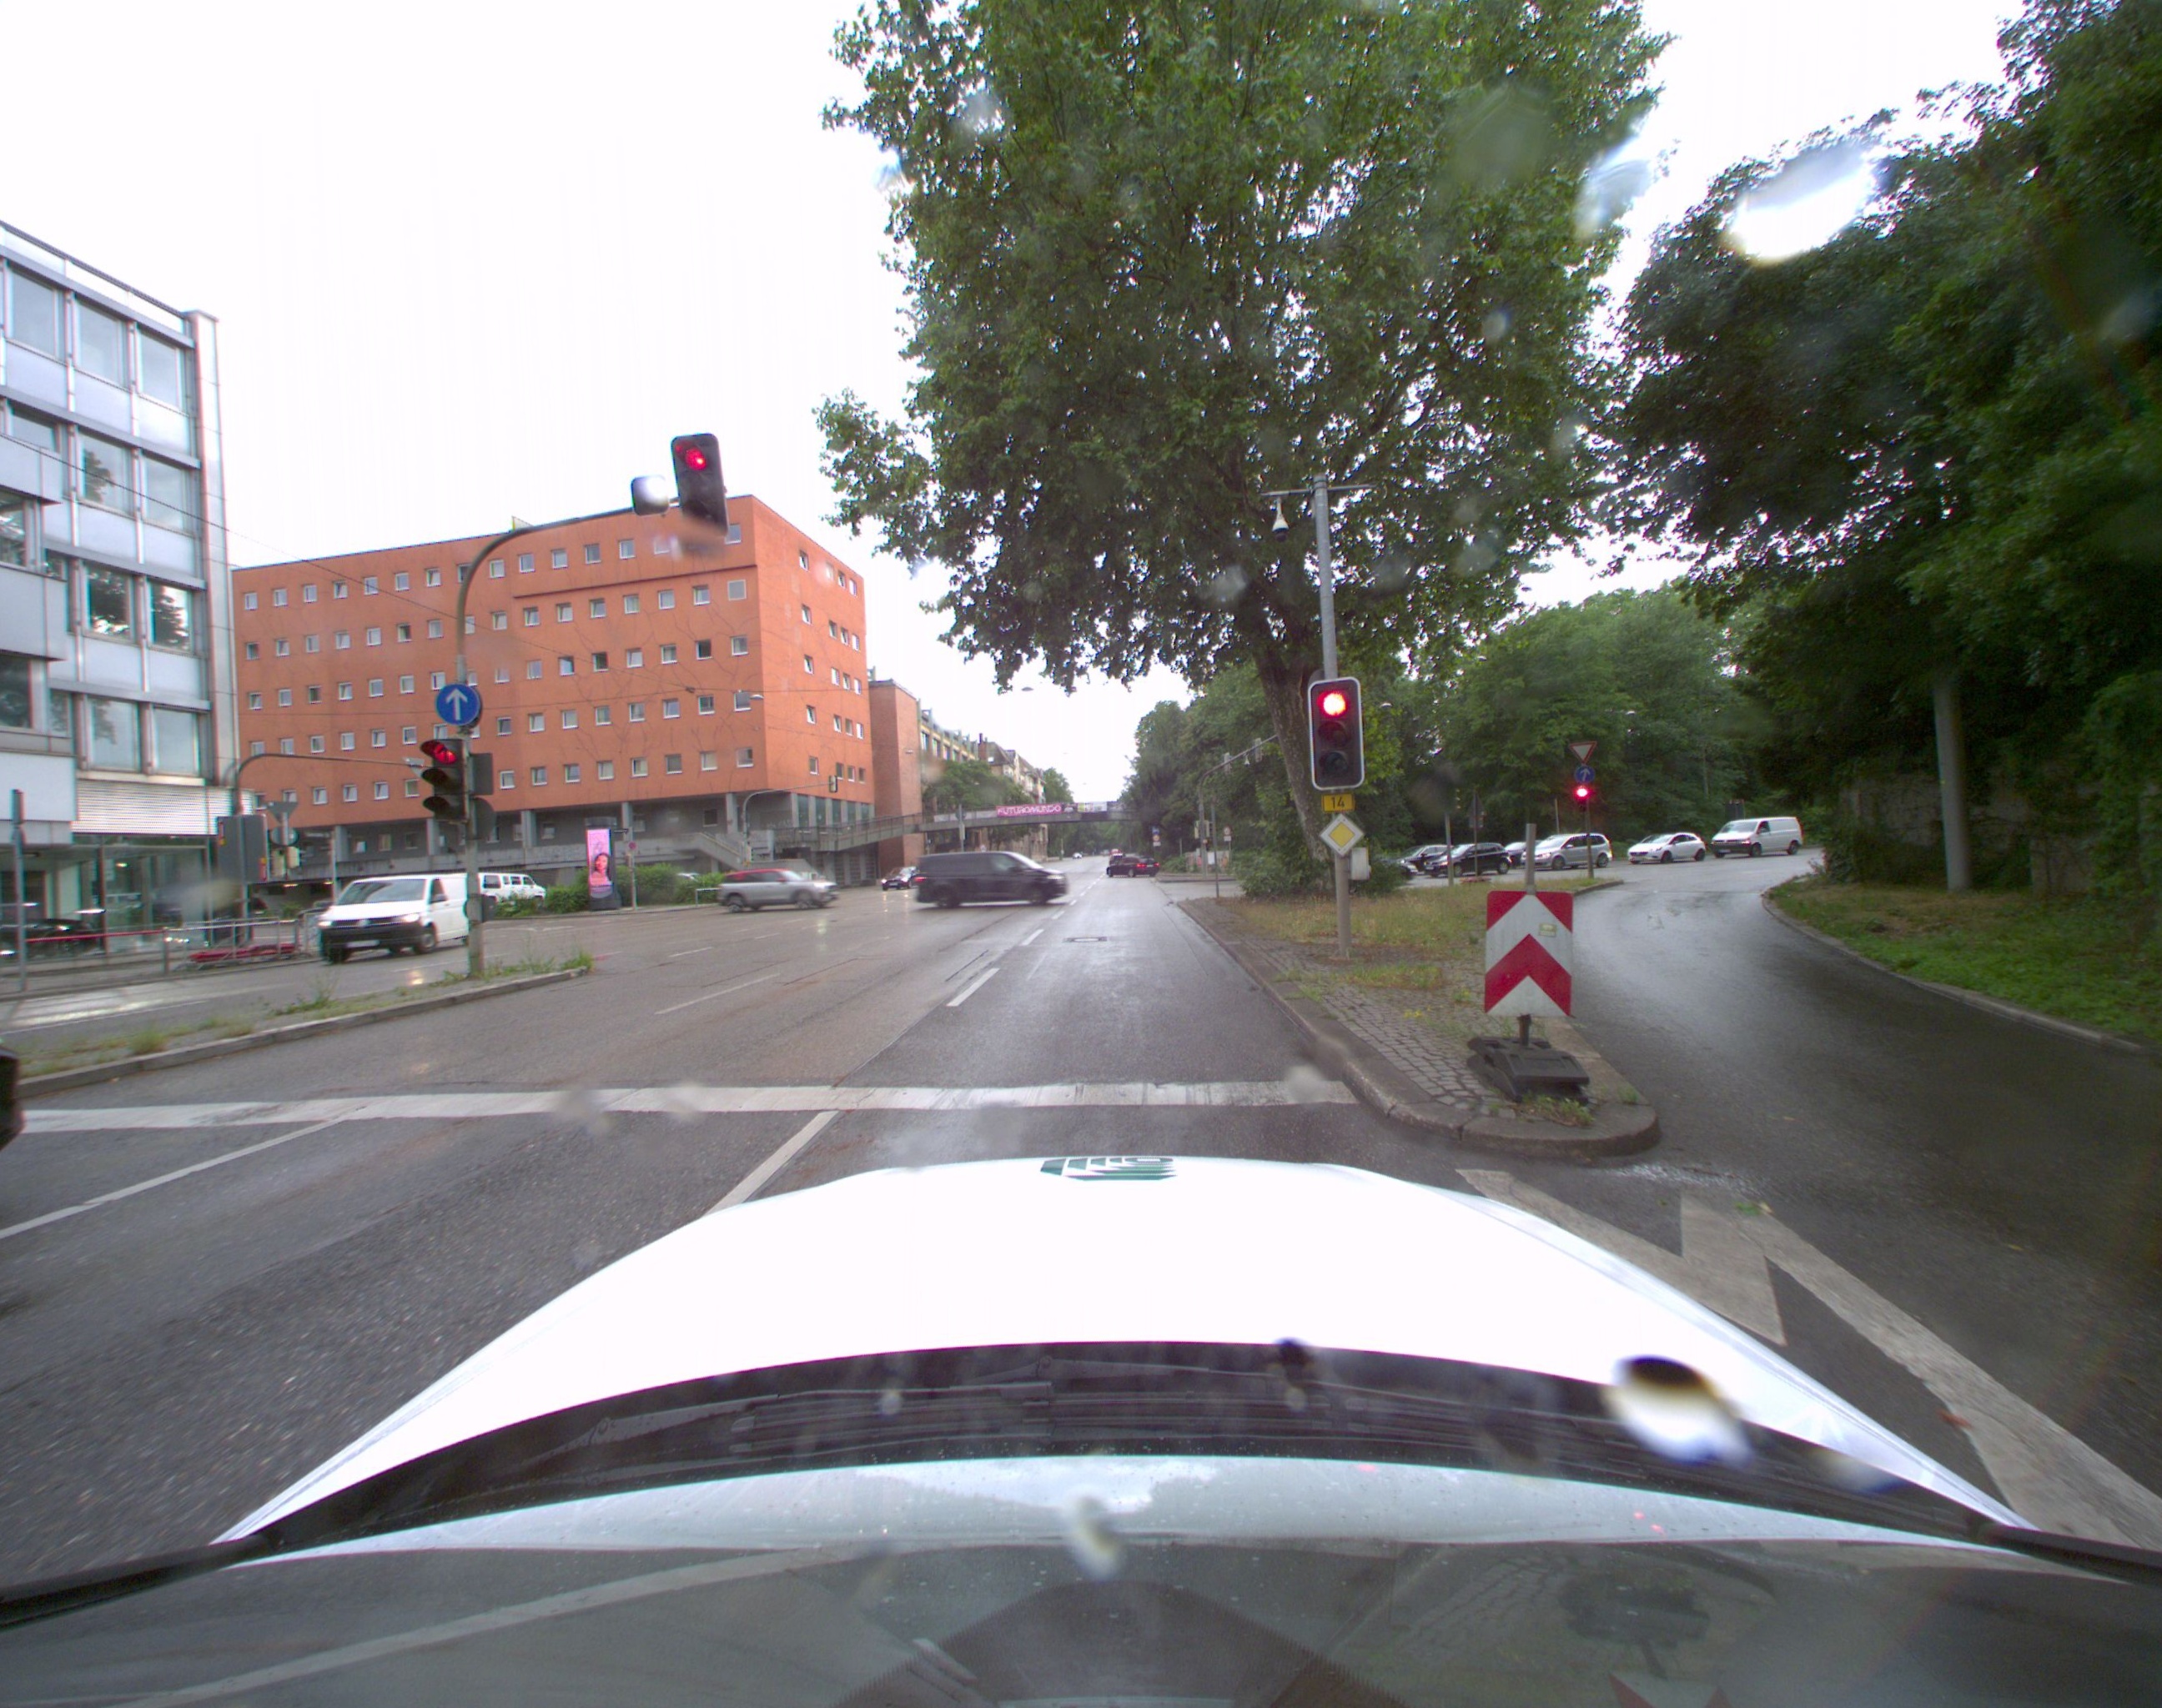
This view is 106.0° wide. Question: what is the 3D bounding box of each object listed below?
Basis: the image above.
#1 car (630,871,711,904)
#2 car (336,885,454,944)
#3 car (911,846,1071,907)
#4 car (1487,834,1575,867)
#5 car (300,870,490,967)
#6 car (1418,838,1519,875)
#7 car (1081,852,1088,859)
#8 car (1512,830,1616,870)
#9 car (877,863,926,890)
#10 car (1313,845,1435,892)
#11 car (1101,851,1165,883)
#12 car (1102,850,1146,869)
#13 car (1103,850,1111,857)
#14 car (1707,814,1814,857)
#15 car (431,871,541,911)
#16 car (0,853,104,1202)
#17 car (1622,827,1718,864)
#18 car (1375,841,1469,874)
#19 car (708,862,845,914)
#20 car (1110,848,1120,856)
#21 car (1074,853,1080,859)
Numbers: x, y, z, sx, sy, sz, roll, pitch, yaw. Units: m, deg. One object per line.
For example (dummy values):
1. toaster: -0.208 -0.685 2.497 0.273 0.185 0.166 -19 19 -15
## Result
1. car: -25.338 2.064 50.297 3.988 1.618 1.900 -5 -1 11
2. car: -22.810 2.024 27.026 4.762 1.637 2.013 -5 -1 38
3. car: -2.999 0.751 27.751 5.053 1.846 2.002 -2 -1 4
4. car: 22.867 -0.176 41.379 3.834 1.486 1.734 -3 0 -18
5. car: -16.866 1.498 20.405 2.002 1.932 5.174 -4 -1 -22
6. car: 17.178 0.124 36.150 3.859 1.485 1.665 -2 -1 -13
7. car: 1.039 0.380 234.519 1.757 1.925 3.707 -5 -1 2
8. car: 22.596 -0.190 38.109 4.272 1.486 1.763 -4 -1 -18
9. car: -11.280 1.370 51.338 1.986 1.519 4.002 -3 -1 2
10. car: 11.365 0.556 31.705 4.133 1.446 1.581 -5 -1 -8
11. car: 3.424 0.901 54.498 2.143 1.836 4.309 -4 -1 -31
12. car: 3.950 0.512 75.717 1.887 1.637 4.481 -2 0 -30
13. car: 6.518 -0.076 205.435 1.757 1.697 3.707 -5 -1 2
14. car: 34.924 -0.950 41.848 4.858 1.922 1.897 -3 0 -18
15. car: -32.728 1.991 45.030 1.982 2.014 4.863 1 0 9
16. car: -6.094 0.849 1.830 1.938 1.597 4.676 -1 1 4
17. car: 29.038 -0.406 40.145 3.999 1.486 1.763 -4 -1 -18
18. car: 16.794 0.181 40.173 3.998 1.486 1.867 -2 -1 -18
19. car: -11.740 1.296 31.572 4.493 1.637 1.882 -4 0 2
20. car: 7.935 -0.510 189.495 2.114 1.734 4.197 -1 1 -1
21. car: -1.109 0.550 233.184 1.613 1.697 3.550 -5 -1 2
